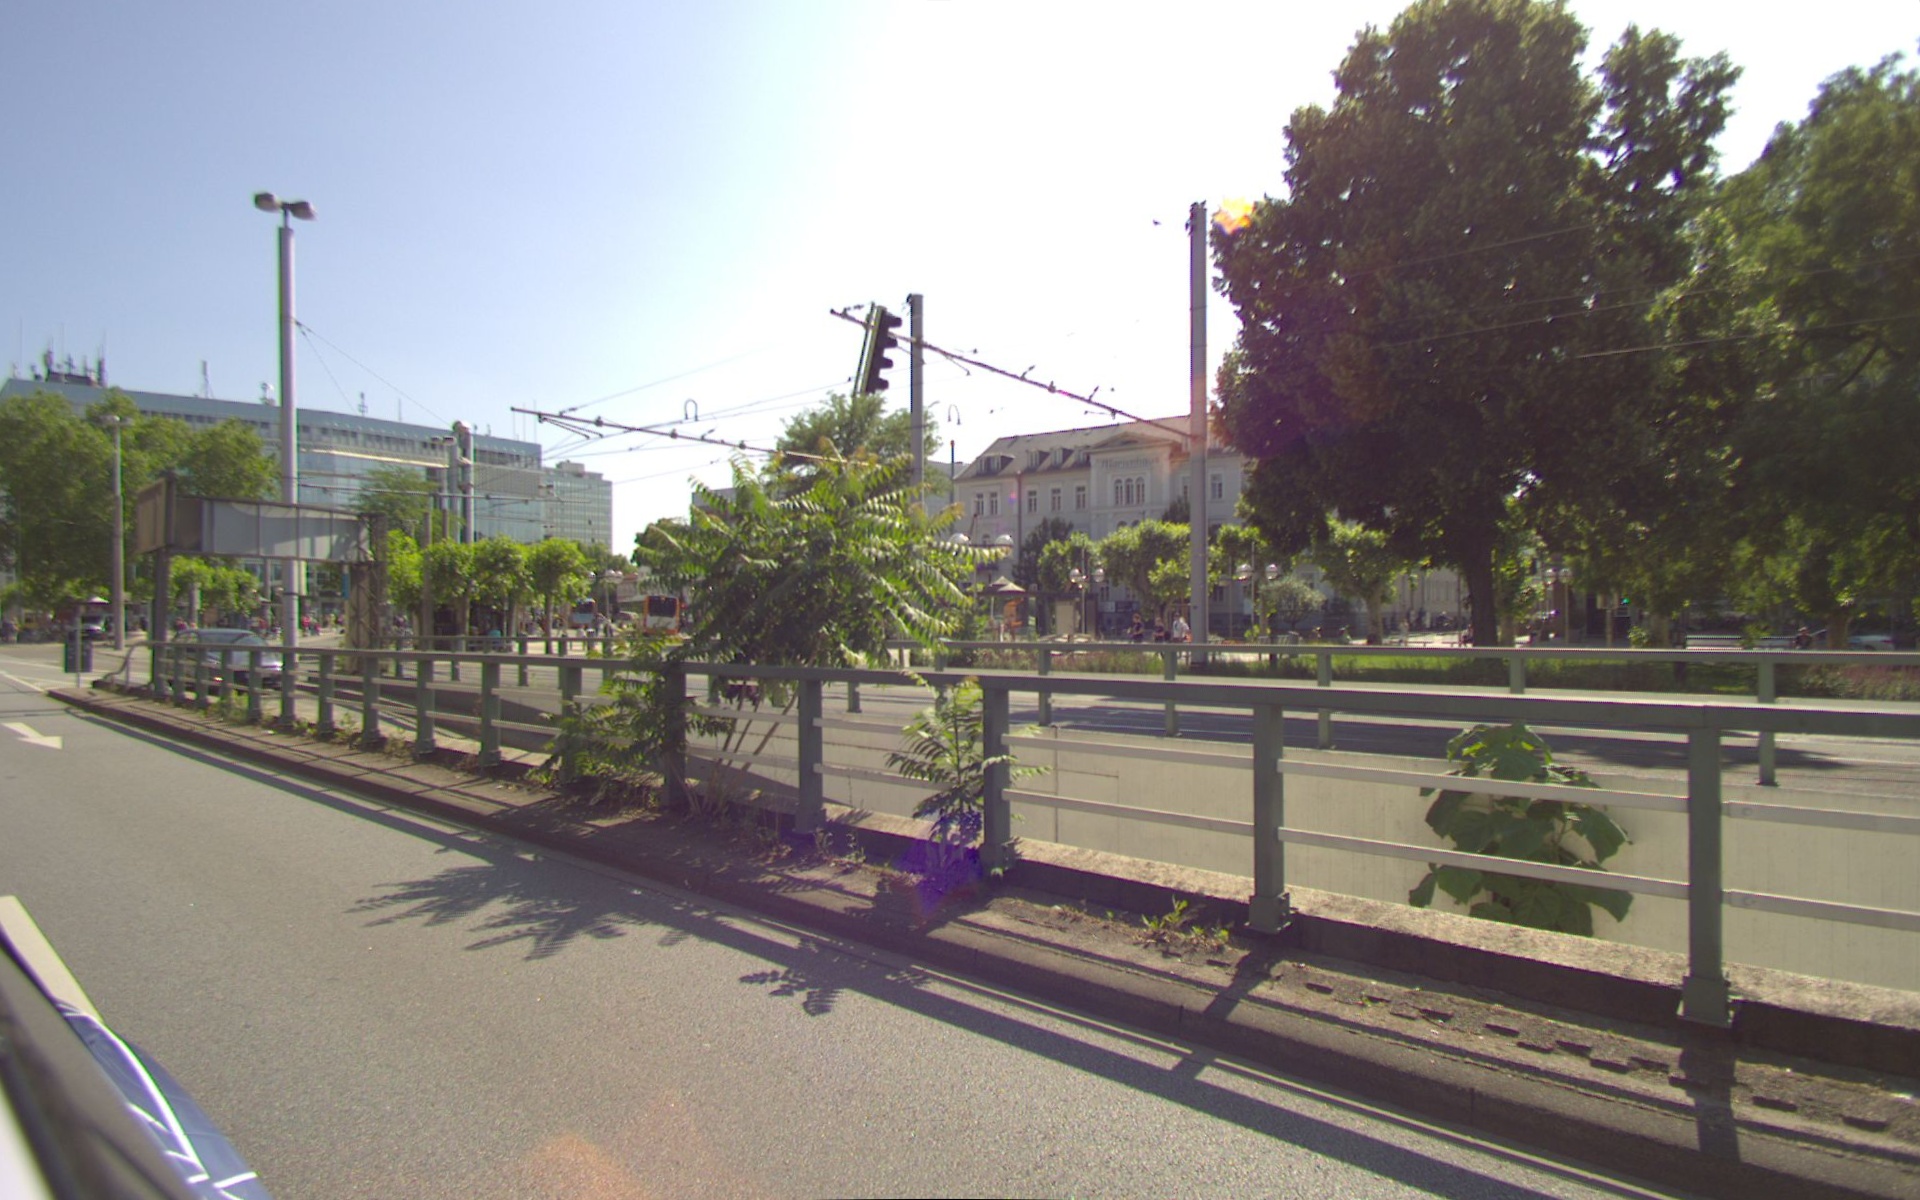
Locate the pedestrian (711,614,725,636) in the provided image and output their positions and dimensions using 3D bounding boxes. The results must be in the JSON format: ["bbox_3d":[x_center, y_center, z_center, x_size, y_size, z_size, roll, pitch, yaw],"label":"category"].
[{"bbox_3d":[-16.520,1.727,69.201,0.679,1.477,0.617,-2,-4,36],"label":"pedestrian"}]

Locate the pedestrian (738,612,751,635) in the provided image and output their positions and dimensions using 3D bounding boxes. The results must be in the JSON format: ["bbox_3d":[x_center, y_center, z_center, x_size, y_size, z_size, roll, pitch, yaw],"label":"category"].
[{"bbox_3d":[-14.400,1.567,67.607,0.616,1.477,0.681,3,-4,-44],"label":"pedestrian"}]

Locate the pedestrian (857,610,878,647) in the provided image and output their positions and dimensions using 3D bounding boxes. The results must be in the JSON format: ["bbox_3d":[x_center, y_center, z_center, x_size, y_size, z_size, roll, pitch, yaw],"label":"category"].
[{"bbox_3d":[-4.427,1.372,48.572,0.705,1.719,0.669,-2,-3,40],"label":"pedestrian"}]

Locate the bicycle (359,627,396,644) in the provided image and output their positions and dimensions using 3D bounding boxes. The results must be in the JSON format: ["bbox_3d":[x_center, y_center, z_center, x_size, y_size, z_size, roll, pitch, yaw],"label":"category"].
[{"bbox_3d":[-33.724,2.074,58.601,0.544,0.862,1.853,-1,1,28],"label":"bicycle"}]

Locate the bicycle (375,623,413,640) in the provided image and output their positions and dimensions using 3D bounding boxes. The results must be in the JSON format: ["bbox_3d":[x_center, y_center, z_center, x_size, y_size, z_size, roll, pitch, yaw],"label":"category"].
[{"bbox_3d":[-32.118,1.798,57.442,0.544,0.862,1.853,-1,1,28],"label":"bicycle"}]

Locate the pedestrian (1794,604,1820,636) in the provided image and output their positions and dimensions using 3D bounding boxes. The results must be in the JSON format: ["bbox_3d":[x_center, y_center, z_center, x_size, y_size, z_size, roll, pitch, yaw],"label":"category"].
[{"bbox_3d":[34.894,0.828,41.716,0.657,1.273,0.745,-1,-4,29],"label":"pedestrian"}]

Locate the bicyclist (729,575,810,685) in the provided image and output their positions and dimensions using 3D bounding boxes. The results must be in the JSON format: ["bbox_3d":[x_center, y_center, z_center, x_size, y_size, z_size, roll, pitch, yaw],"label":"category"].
[{"bbox_3d":[-2.933,0.483,15.597,0.902,1.634,0.809,-2,-5,41],"label":"bicyclist"}]

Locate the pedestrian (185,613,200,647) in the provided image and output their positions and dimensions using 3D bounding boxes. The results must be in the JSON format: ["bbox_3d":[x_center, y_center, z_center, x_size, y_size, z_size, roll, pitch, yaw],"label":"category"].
[{"bbox_3d":[-36.877,1.463,48.614,0.518,1.622,0.627,3,-4,-39],"label":"pedestrian"}]

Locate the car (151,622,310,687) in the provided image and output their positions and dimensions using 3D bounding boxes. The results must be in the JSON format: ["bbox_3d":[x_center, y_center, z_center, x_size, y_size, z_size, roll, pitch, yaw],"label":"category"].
[{"bbox_3d":[-17.257,1.275,23.895,3.989,1.415,1.681,-1,-5,34],"label":"car"}]

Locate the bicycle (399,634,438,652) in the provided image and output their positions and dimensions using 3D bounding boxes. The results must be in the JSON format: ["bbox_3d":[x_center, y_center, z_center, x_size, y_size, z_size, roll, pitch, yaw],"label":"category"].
[{"bbox_3d":[-29.370,2.316,54.939,0.579,0.876,1.853,-1,1,28],"label":"bicycle"}]

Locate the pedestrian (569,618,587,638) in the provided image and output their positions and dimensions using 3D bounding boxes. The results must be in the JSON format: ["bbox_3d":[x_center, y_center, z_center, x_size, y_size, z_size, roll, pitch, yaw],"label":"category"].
[{"bbox_3d":[-18.839,1.390,49.962,0.580,1.008,0.627,-3,-4,44],"label":"pedestrian"}]

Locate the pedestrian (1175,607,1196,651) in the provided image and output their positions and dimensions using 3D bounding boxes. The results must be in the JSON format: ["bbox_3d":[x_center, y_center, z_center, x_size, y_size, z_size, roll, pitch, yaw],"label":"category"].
[{"bbox_3d":[8.538,1.108,38.359,0.619,1.622,0.488,-2,-4,34],"label":"pedestrian"}]

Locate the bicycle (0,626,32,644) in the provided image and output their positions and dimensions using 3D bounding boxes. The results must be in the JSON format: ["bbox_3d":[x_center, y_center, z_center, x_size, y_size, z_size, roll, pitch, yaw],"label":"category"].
[{"bbox_3d":[-61.355,2.257,65.613,0.482,1.156,1.735,-1,-1,39],"label":"bicycle"}]

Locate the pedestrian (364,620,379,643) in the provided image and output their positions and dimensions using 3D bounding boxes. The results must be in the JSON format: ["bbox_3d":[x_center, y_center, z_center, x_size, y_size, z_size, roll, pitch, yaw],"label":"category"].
[{"bbox_3d":[-38.785,2.065,66.718,0.549,1.477,0.621,-1,-3,19],"label":"pedestrian"}]

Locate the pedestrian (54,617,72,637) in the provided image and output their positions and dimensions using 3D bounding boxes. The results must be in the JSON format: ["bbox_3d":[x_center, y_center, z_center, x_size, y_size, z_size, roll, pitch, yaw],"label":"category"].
[{"bbox_3d":[-65.509,1.991,73.908,0.780,1.418,0.744,-1,1,31],"label":"pedestrian"}]

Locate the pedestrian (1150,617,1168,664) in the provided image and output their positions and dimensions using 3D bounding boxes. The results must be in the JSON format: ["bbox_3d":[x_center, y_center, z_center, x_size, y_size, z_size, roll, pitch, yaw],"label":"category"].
[{"bbox_3d":[6.930,1.404,35.285,0.494,1.622,0.409,-2,-4,39],"label":"pedestrian"}]

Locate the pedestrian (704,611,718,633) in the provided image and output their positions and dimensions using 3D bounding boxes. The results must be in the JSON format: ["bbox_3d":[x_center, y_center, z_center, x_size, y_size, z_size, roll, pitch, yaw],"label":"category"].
[{"bbox_3d":[-17.215,1.543,70.041,0.679,1.477,0.617,-2,-4,38],"label":"pedestrian"}]

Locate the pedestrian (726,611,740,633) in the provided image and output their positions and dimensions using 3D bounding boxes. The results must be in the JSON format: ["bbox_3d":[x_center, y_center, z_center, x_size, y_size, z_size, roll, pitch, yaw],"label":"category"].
[{"bbox_3d":[-16.040,1.563,71.457,0.679,1.477,0.617,-2,-4,36],"label":"pedestrian"}]

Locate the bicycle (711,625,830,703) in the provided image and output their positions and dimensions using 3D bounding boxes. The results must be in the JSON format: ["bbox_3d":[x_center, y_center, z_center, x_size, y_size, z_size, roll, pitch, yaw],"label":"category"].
[{"bbox_3d":[-2.933,0.955,15.554,1.873,1.129,0.809,-1,-3,42],"label":"bicycle"}]

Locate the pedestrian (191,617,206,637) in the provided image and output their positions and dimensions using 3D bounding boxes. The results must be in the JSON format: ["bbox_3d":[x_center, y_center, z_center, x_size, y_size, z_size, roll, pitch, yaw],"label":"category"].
[{"bbox_3d":[-68.299,2.435,90.743,0.780,1.761,0.744,-1,-4,31],"label":"pedestrian"}]

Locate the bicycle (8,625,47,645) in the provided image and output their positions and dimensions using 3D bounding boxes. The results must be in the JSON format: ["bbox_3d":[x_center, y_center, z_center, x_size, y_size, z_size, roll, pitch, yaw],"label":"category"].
[{"bbox_3d":[-58.703,2.203,63.703,0.482,1.156,1.735,-1,-1,39],"label":"bicycle"}]

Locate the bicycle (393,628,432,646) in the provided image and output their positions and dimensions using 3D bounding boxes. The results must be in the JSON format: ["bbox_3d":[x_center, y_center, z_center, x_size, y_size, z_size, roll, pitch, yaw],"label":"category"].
[{"bbox_3d":[-29.879,2.016,55.239,0.579,0.876,1.853,-1,1,28],"label":"bicycle"}]

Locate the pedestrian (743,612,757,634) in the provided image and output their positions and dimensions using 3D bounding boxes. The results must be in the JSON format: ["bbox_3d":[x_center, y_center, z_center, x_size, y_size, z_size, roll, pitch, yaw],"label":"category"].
[{"bbox_3d":[-14.248,1.590,68.541,0.679,1.477,0.617,-2,-4,36],"label":"pedestrian"}]

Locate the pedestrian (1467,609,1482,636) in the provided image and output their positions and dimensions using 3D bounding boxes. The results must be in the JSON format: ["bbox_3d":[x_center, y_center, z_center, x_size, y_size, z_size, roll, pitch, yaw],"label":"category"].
[{"bbox_3d":[24.866,1.092,48.899,0.525,1.273,0.574,-1,-3,20],"label":"pedestrian"}]

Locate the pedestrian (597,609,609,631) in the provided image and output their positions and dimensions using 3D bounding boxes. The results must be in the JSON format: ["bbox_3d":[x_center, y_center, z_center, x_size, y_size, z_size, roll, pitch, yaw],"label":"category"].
[{"bbox_3d":[-25.235,1.420,71.490,0.585,1.477,0.522,-1,-3,22],"label":"pedestrian"}]

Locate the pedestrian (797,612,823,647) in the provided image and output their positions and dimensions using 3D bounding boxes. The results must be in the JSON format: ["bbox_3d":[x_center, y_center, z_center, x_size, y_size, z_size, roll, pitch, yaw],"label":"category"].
[{"bbox_3d":[-8.004,1.571,53.967,0.953,1.807,1.082,3,-4,-40],"label":"pedestrian"}]

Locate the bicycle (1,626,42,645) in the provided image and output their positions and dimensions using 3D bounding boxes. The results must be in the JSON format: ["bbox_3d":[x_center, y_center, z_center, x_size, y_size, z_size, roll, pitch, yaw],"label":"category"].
[{"bbox_3d":[-59.427,2.218,64.081,0.482,1.156,1.842,-1,-1,39],"label":"bicycle"}]

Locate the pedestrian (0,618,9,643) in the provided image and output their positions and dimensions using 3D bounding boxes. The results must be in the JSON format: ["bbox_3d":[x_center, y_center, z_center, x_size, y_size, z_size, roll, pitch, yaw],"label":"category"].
[{"bbox_3d":[-64.755,2.062,68.262,0.640,1.704,0.637,-1,1,28],"label":"pedestrian"}]

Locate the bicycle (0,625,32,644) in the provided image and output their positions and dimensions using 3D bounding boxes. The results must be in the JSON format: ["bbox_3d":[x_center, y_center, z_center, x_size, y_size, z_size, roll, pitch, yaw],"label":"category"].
[{"bbox_3d":[-62.246,2.271,66.573,0.482,1.156,1.735,-1,-1,39],"label":"bicycle"}]

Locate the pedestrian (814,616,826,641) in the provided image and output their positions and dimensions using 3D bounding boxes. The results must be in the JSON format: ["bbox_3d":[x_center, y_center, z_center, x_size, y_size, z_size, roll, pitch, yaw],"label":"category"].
[{"bbox_3d":[-7.112,1.450,51.418,0.479,1.273,0.400,-1,-3,23],"label":"pedestrian"}]

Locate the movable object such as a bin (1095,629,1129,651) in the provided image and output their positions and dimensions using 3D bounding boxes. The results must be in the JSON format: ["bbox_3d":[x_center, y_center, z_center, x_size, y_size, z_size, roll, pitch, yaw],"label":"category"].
[{"bbox_3d":[5.282,1.401,35.157,0.800,0.760,0.897,-2,-4,41],"label":"movable object such as a bin"}]

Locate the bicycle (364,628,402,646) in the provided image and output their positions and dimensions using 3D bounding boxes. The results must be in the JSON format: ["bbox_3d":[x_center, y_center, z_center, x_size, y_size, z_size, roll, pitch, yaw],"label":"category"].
[{"bbox_3d":[-33.190,2.116,58.208,0.581,0.878,1.853,-1,1,28],"label":"bicycle"}]

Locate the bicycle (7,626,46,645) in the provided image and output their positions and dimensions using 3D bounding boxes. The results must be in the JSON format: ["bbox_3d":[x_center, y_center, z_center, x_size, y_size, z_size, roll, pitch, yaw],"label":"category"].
[{"bbox_3d":[-58.391,2.208,63.290,0.482,1.156,1.735,-1,-1,39],"label":"bicycle"}]

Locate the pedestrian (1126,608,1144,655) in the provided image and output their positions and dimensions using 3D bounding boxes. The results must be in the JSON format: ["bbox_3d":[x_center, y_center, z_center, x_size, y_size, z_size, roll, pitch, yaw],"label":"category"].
[{"bbox_3d":[6.169,1.123,35.712,0.466,1.622,0.446,-3,-4,44],"label":"pedestrian"}]

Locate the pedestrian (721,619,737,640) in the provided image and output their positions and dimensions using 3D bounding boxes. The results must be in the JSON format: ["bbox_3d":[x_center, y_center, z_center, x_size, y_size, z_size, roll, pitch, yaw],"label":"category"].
[{"bbox_3d":[-16.483,2.118,72.207,0.741,1.477,0.780,-2,-4,36],"label":"pedestrian"}]

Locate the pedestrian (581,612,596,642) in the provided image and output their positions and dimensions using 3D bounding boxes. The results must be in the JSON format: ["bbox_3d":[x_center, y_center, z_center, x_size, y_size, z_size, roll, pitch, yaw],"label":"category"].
[{"bbox_3d":[-20.658,1.513,56.288,0.549,1.620,0.600,-3,-4,44],"label":"pedestrian"}]

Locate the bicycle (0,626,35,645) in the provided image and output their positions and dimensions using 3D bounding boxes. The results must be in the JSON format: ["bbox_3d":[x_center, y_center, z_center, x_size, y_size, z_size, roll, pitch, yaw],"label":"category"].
[{"bbox_3d":[-60.305,2.232,64.639,0.482,1.156,1.735,-1,-1,39],"label":"bicycle"}]

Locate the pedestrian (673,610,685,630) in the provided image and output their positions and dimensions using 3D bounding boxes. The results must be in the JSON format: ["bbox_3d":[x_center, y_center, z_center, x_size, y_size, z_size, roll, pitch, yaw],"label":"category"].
[{"bbox_3d":[-21.817,1.552,78.700,0.681,1.477,0.616,-3,-4,44],"label":"pedestrian"}]

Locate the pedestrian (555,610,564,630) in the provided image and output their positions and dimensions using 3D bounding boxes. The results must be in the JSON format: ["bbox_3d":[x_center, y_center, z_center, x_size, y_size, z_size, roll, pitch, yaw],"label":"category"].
[{"bbox_3d":[-29.308,1.471,74.072,0.407,1.477,0.451,0,-3,6],"label":"pedestrian"}]

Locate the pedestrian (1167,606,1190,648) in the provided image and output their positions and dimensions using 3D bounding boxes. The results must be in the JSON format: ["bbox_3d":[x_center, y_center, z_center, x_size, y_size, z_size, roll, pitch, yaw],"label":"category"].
[{"bbox_3d":[8.046,1.002,37.291,0.661,1.504,0.519,-2,-4,39],"label":"pedestrian"}]

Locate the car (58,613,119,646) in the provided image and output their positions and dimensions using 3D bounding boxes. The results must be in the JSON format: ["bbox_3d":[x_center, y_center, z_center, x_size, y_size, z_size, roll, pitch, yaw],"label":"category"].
[{"bbox_3d":[-60.041,1.980,69.812,1.966,2.029,5.083,-2,1,-27],"label":"car"}]

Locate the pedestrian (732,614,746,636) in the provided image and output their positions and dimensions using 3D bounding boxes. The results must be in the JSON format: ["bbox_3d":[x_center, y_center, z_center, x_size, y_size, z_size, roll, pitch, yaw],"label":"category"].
[{"bbox_3d":[-15.065,1.710,68.841,0.679,1.477,0.617,-2,-4,36],"label":"pedestrian"}]

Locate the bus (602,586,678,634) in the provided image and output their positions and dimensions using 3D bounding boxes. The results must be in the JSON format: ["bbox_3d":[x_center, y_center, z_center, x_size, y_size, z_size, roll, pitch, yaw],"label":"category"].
[{"bbox_3d":[-25.373,0.730,79.729,3.014,3.445,12.498,-2,1,-30],"label":"bus"}]

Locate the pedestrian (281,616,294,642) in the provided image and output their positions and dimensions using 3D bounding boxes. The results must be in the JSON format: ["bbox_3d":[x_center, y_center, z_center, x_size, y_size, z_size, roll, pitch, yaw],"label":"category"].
[{"bbox_3d":[-47.139,2.028,70.935,0.605,1.830,0.570,-2,-4,41],"label":"pedestrian"}]

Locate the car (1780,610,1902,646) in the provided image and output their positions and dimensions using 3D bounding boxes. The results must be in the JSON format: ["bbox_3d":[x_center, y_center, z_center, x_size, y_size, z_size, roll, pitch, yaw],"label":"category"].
[{"bbox_3d":[39.990,1.264,46.047,3.991,1.519,1.740,-1,1,36],"label":"car"}]

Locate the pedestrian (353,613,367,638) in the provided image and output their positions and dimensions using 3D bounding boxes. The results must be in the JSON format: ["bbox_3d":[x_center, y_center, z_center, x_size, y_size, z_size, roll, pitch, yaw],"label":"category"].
[{"bbox_3d":[-39.581,1.691,66.763,0.518,1.678,0.469,-1,-3,19],"label":"pedestrian"}]

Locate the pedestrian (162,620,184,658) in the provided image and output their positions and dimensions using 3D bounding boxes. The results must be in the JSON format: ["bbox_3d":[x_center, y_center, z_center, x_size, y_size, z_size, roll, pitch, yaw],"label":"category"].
[{"bbox_3d":[-37.346,1.852,48.042,0.581,1.747,0.524,0,-3,11],"label":"pedestrian"}]

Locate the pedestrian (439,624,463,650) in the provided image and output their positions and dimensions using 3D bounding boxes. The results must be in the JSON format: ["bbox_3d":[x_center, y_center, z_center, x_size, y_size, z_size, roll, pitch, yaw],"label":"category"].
[{"bbox_3d":[-23.260,1.693,46.234,0.751,1.180,0.669,-2,-4,35],"label":"pedestrian"}]

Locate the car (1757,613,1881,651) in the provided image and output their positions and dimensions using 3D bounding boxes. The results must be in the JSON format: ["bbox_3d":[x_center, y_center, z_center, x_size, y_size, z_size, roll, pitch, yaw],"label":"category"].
[{"bbox_3d":[37.720,1.400,44.571,3.991,1.519,1.740,-1,1,36],"label":"car"}]

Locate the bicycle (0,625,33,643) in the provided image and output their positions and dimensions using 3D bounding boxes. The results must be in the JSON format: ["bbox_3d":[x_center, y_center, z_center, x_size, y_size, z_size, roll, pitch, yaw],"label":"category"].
[{"bbox_3d":[-61.756,2.221,66.084,0.482,1.156,1.735,-1,-1,39],"label":"bicycle"}]
